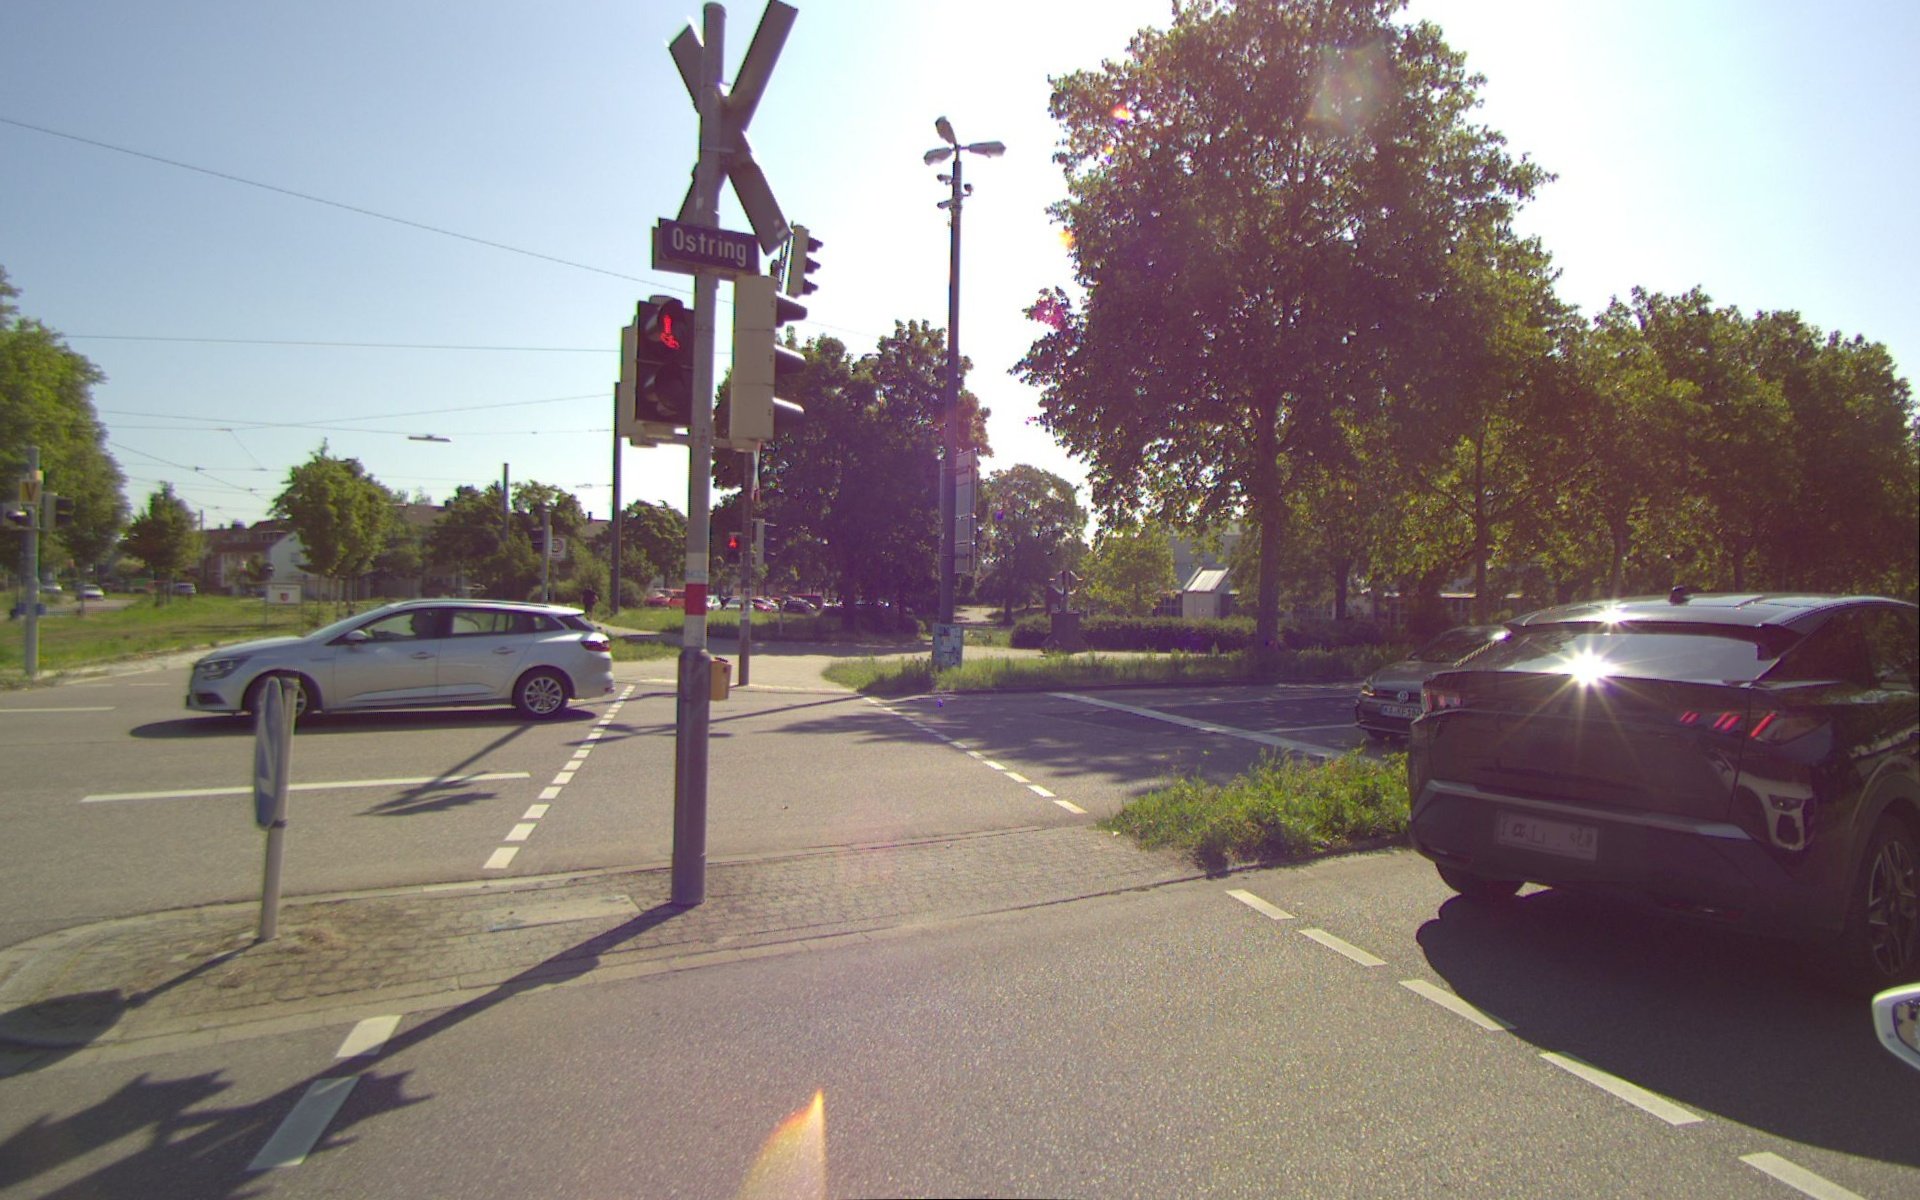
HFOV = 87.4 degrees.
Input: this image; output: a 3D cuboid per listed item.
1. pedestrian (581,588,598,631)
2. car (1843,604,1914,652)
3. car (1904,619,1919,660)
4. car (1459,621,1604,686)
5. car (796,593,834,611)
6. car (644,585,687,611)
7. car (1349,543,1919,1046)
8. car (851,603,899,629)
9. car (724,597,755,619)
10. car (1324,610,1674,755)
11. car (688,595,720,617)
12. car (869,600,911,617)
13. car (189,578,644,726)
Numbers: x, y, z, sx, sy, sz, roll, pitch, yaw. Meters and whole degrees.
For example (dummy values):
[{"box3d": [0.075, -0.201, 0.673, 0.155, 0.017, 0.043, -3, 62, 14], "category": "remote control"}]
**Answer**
[{"box3d": [-17.832, 0.439, 48.339, 0.701, 2.040, 0.792, 1, 0, -22], "category": "pedestrian"}, {"box3d": [53.356, 1.659, 58.308, 7.156, 2.648, 2.044, 2, -2, -39], "category": "car"}, {"box3d": [45.947, 1.836, 47.120, 4.948, 1.863, 1.673, 1, -1, -37], "category": "car"}, {"box3d": [15.464, 1.398, 27.090, 4.388, 1.610, 1.698, 2, -2, -35], "category": "car"}, {"box3d": [-15.835, 0.190, 109.779, 3.854, 1.863, 1.769, 2, 0, -4], "category": "car"}, {"box3d": [-20.986, -0.112, 71.782, 1.779, 1.725, 3.988, 2, 0, 1], "category": "car"}, {"box3d": [4.306, 0.692, 5.356, 4.384, 1.719, 1.863, 1, 0, -31], "category": "car"}, {"box3d": [-7.146, 1.351, 84.110, 3.924, 2.040, 1.816, 1, 0, -5], "category": "car"}, {"box3d": [-15.666, 0.562, 71.567, 1.420, 1.466, 3.342, 2, 0, 1], "category": "car"}, {"box3d": [6.643, 0.935, 12.349, 4.073, 1.528, 1.689, 2, 0, -25], "category": "car"}, {"box3d": [-18.223, 0.438, 71.592, 1.322, 1.466, 3.342, 2, 0, 1], "category": "car"}, {"box3d": [-6.851, 0.805, 97.558, 3.926, 1.511, 1.815, 1, 0, -8], "category": "car"}, {"box3d": [-6.453, 0.591, 12.349, 4.610, 1.528, 1.684, 2, 0, -32], "category": "car"}]
